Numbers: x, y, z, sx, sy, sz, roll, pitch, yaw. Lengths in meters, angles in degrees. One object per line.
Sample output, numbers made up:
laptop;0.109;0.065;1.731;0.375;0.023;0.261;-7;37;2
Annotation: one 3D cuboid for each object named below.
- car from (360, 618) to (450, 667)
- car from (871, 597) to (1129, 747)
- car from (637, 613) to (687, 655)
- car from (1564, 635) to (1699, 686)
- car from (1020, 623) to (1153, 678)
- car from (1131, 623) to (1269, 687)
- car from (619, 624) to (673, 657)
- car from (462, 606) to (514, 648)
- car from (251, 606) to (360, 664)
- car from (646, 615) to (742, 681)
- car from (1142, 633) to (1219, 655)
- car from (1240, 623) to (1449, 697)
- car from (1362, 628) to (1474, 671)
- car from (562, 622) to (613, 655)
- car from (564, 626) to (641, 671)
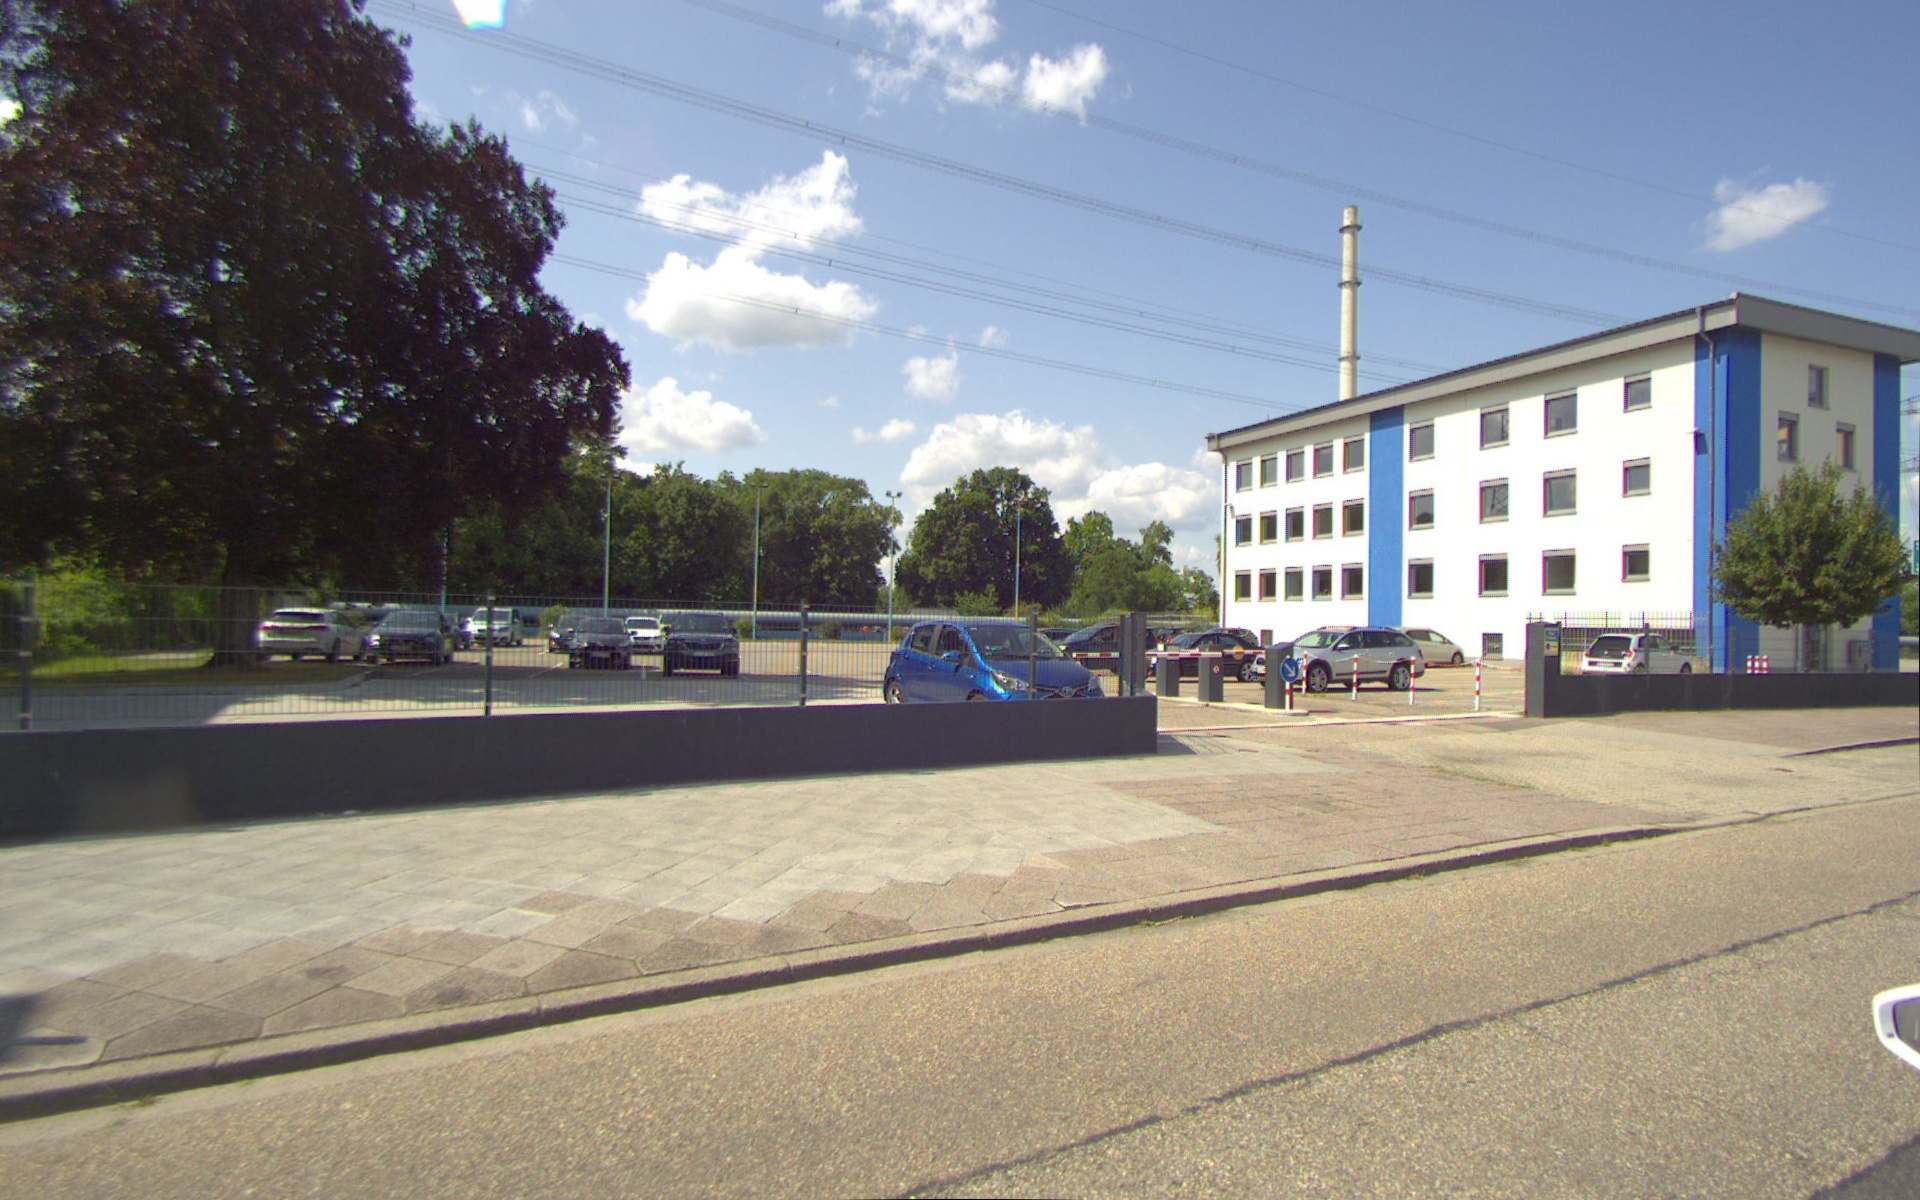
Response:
car;-15.269;1.157;27.835;1.805;1.243;4.188;2;-2;-24
car;0.401;0.894;13.650;1.856;1.731;3.631;2;-2;-30
car;-13.544;1.526;45.558;1.958;1.808;3.764;1;-2;-19
car;21.172;1.904;31.680;3.706;1.527;1.868;2;-2;-24
car;4.211;1.685;33.354;4.012;1.731;1.867;2;-2;-25
car;6.906;1.571;28.957;3.431;1.731;1.868;2;-2;-24
car;-12.743;1.619;40.647;1.658;1.246;3.303;2;-2;-24
car;-20.426;1.169;43.599;1.811;1.684;4.189;2;-2;-23
car;-17.701;0.950;27.368;1.805;1.426;4.271;2;-2;-24
car;-6.808;1.196;25.440;1.658;1.521;4.188;2;-2;-24
car;12.055;2.390;54.828;3.850;1.090;1.761;2;-2;-25
car;9.348;1.456;24.413;4.774;1.658;1.821;2;-2;-22
car;18.948;2.059;41.505;4.384;1.676;1.819;2;-2;-25
car;-14.811;1.515;39.840;1.658;1.246;3.303;2;-2;-24
car;-10.745;1.418;30.000;1.805;1.243;4.188;2;-2;-24
